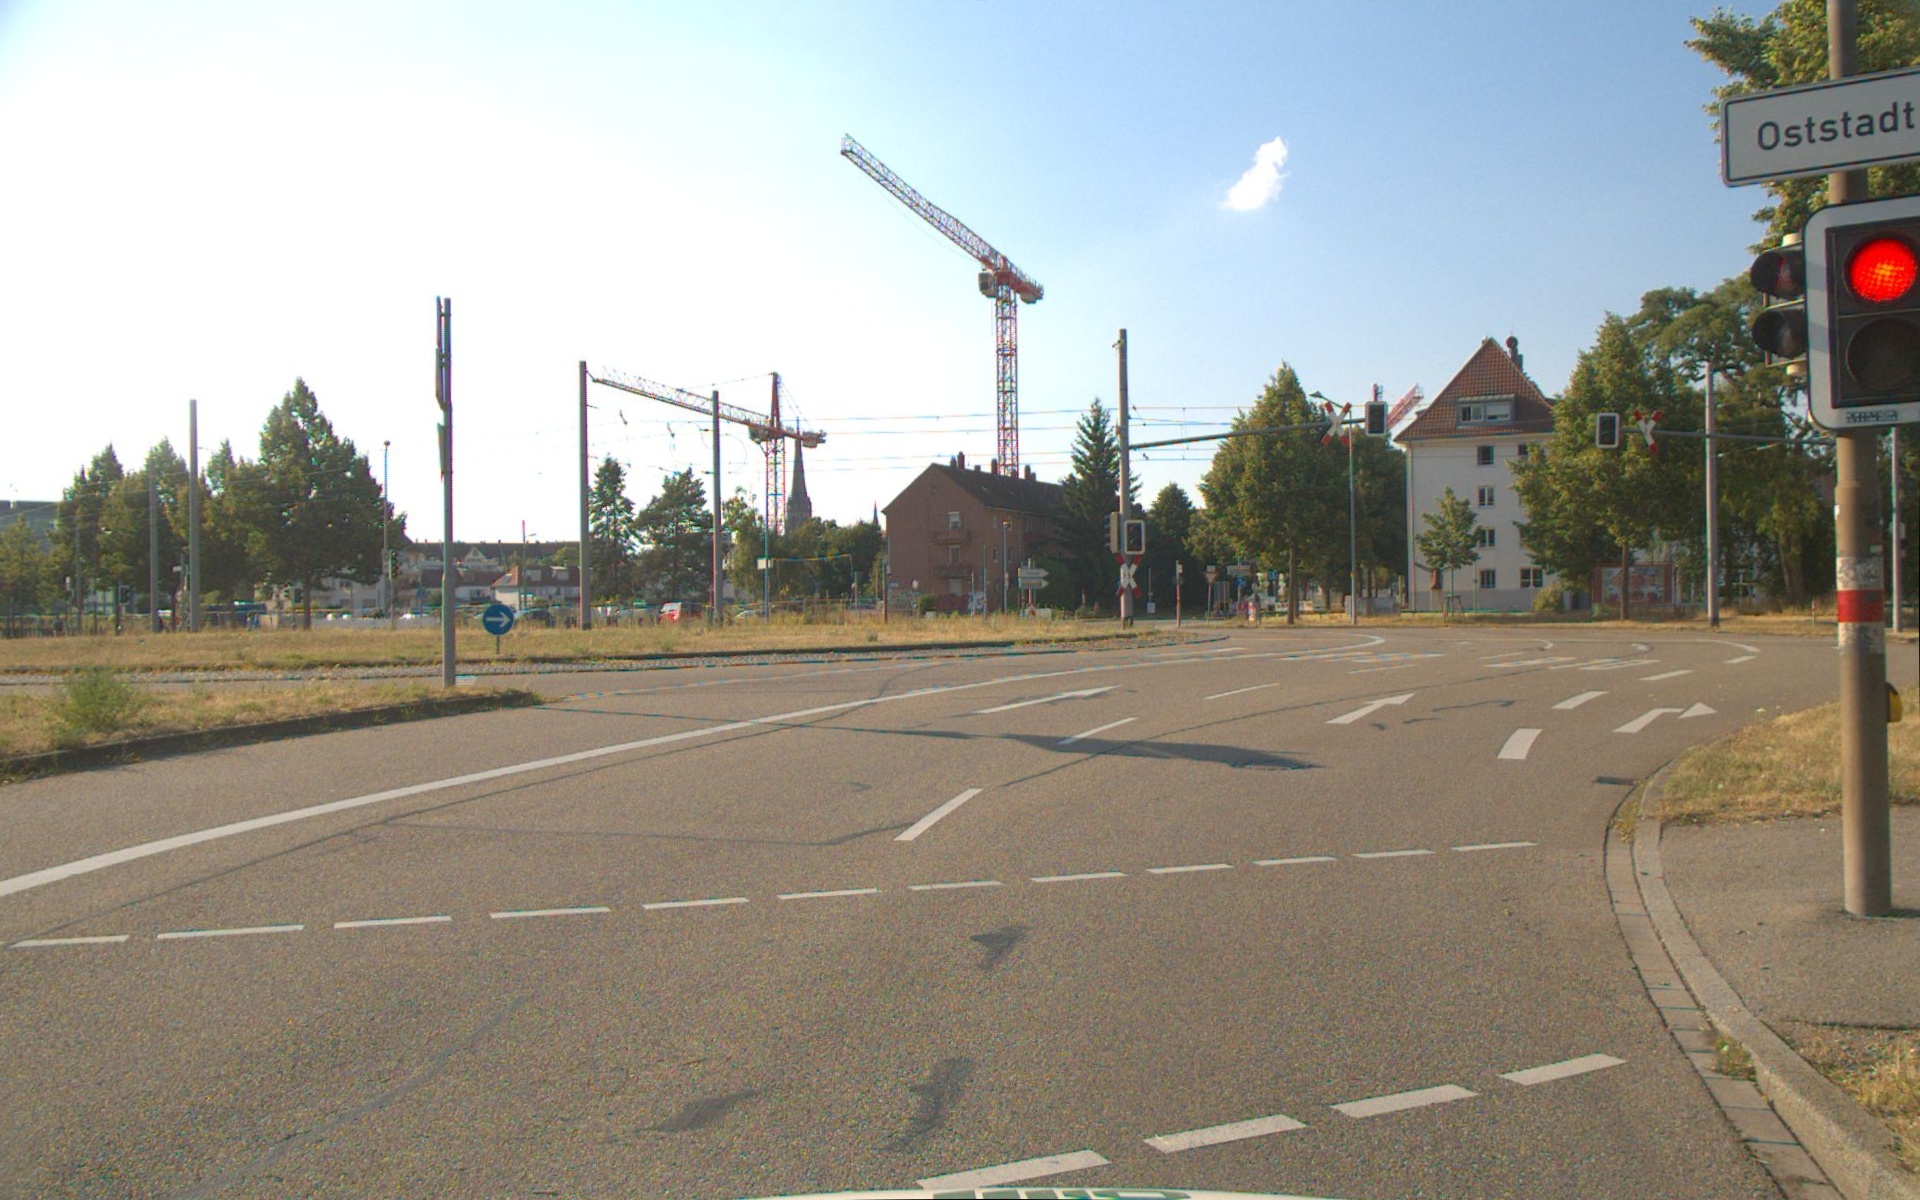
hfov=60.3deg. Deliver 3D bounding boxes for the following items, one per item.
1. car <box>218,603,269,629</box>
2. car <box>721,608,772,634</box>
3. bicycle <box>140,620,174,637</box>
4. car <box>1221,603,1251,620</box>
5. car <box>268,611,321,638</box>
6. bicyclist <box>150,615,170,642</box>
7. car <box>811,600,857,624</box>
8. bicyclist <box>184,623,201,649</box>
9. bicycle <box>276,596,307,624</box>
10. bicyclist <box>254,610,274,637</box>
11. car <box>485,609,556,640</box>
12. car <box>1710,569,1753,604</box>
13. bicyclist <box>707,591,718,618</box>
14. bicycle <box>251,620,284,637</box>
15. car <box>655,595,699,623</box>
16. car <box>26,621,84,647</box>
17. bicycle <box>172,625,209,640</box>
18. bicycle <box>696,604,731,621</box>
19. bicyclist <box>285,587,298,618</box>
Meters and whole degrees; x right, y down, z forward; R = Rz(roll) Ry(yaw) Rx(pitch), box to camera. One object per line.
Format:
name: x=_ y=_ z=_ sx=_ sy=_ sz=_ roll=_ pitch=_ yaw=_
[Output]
car: x=-58.456 y=1.313 z=134.877 sx=3.917 sy=2.049 sz=1.994 roll=-1 pitch=0 yaw=34
car: x=-17.085 y=1.682 z=132.370 sx=3.728 sy=2.049 sz=1.673 roll=-1 pitch=-1 yaw=18
bicycle: x=-42.655 y=1.524 z=87.849 sx=1.595 sy=0.875 sz=0.540 roll=-1 pitch=0 yaw=-27
car: x=21.845 y=0.906 z=130.836 sx=1.426 sy=1.323 sz=3.546 roll=-1 pitch=0 yaw=25
car: x=-52.287 y=1.931 z=129.882 sx=3.917 sy=2.049 sz=1.994 roll=-1 pitch=0 yaw=34
bicyclist: x=-42.555 y=1.509 z=87.939 sx=0.943 sy=1.381 sz=0.687 roll=-1 pitch=0 yaw=-27
car: x=-11.368 y=1.065 z=149.484 sx=3.728 sy=2.049 sz=1.673 roll=-1 pitch=-1 yaw=18
bicyclist: x=-40.771 y=1.909 z=87.898 sx=0.510 sy=1.349 sz=0.650 roll=-1 pitch=0 yaw=42
bicycle: x=-36.969 y=0.547 z=91.438 sx=1.523 sy=1.499 sz=0.474 roll=-1 pitch=0 yaw=-31
bicyclist: x=-37.423 y=1.254 z=88.931 sx=0.943 sy=1.381 sz=0.687 roll=-1 pitch=0 yaw=-27
car: x=-27.804 y=1.524 z=104.583 sx=3.950 sy=1.847 sz=1.977 roll=-1 pitch=0 yaw=-33
car: x=38.587 y=-0.651 z=82.693 sx=1.737 sy=1.646 sz=3.963 roll=-1 pitch=-1 yaw=27
bicyclist: x=-14.346 y=0.243 z=95.820 sx=0.610 sy=1.537 sz=0.418 roll=-1 pitch=0 yaw=-6
bicycle: x=-37.248 y=1.511 z=88.975 sx=1.595 sy=0.875 sz=0.540 roll=-1 pitch=0 yaw=-27
car: x=-19.812 y=0.594 z=115.695 sx=1.898 sy=1.886 sz=3.962 roll=-1 pitch=0 yaw=-29
car: x=-47.662 y=1.792 z=87.152 sx=2.638 sy=1.283 sz=1.103 roll=-1 pitch=0 yaw=-30
bicycle: x=-40.859 y=1.735 z=87.832 sx=0.472 sy=0.757 sz=1.711 roll=-1 pitch=0 yaw=42
bicycle: x=-14.296 y=0.702 z=95.829 sx=1.949 sy=0.934 sz=0.429 roll=-1 pitch=0 yaw=-6
bicyclist: x=-36.959 y=0.118 z=91.470 sx=0.600 sy=1.701 sz=0.473 roll=0 pitch=-1 yaw=-31
